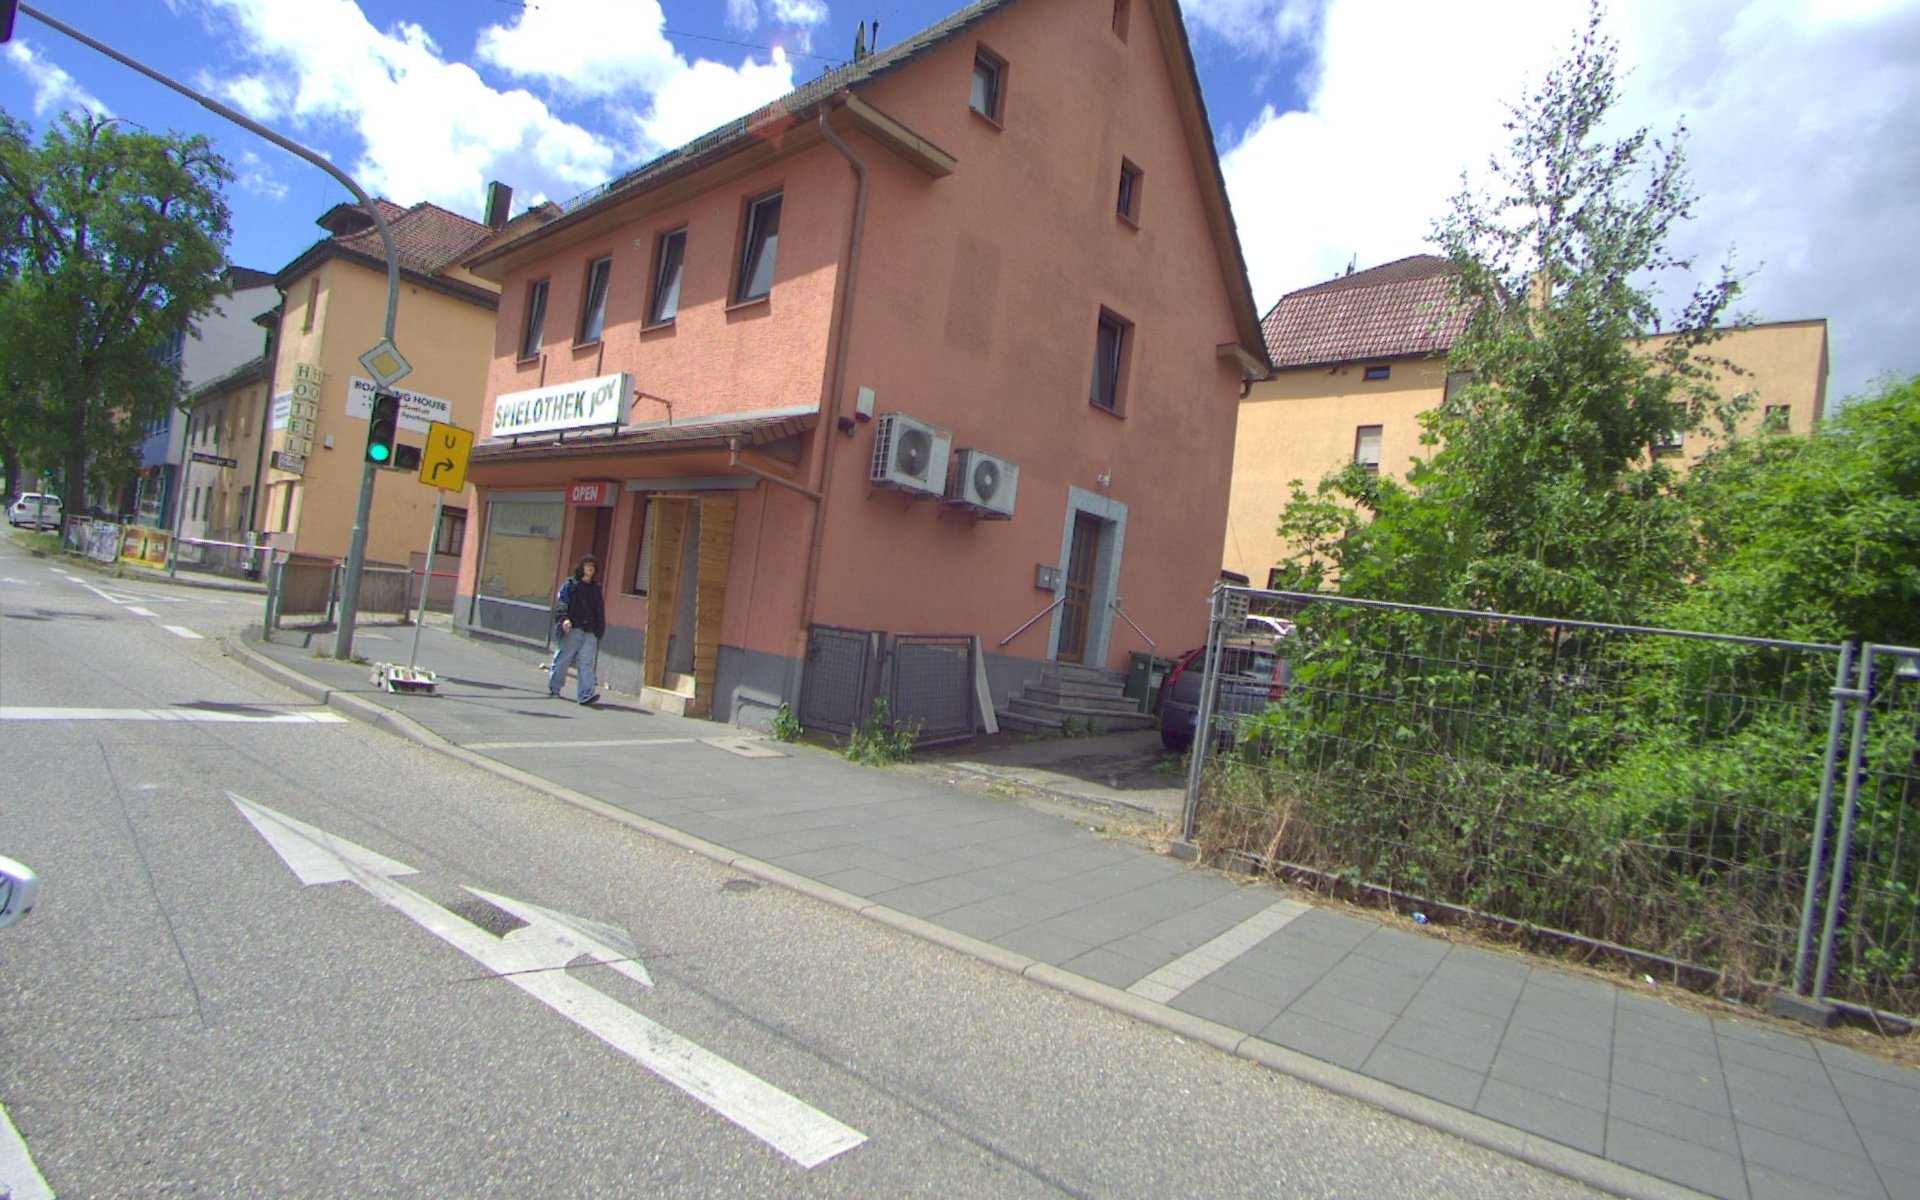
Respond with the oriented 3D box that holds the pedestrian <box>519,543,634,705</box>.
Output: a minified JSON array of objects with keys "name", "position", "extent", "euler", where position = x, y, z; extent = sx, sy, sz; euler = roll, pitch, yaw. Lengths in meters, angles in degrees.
[{"name":"pedestrian","position":[-4.249,0.268,11.136],"extent":[0.767,1.663,0.762],"euler":[9,1,43]}]

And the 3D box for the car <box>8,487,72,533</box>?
[{"name":"car","position":[-39.488,-3.853,43.143],"extent":[1.782,1.615,3.950],"euler":[7,-1,-45]}]

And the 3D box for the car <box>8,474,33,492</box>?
[{"name":"car","position":[-103.427,-12.849,110.744],"extent":[1.813,1.484,3.950],"euler":[12,-4,-44]}]

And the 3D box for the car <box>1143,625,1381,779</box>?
[{"name":"car","position":[3.794,1.192,12.474],"extent":[1.627,1.516,2.796],"euler":[7,2,43]}]

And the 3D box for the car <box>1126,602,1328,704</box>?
[{"name":"car","position":[6.212,1.210,23.639],"extent":[3.947,1.804,1.990],"euler":[7,-1,44]}]
